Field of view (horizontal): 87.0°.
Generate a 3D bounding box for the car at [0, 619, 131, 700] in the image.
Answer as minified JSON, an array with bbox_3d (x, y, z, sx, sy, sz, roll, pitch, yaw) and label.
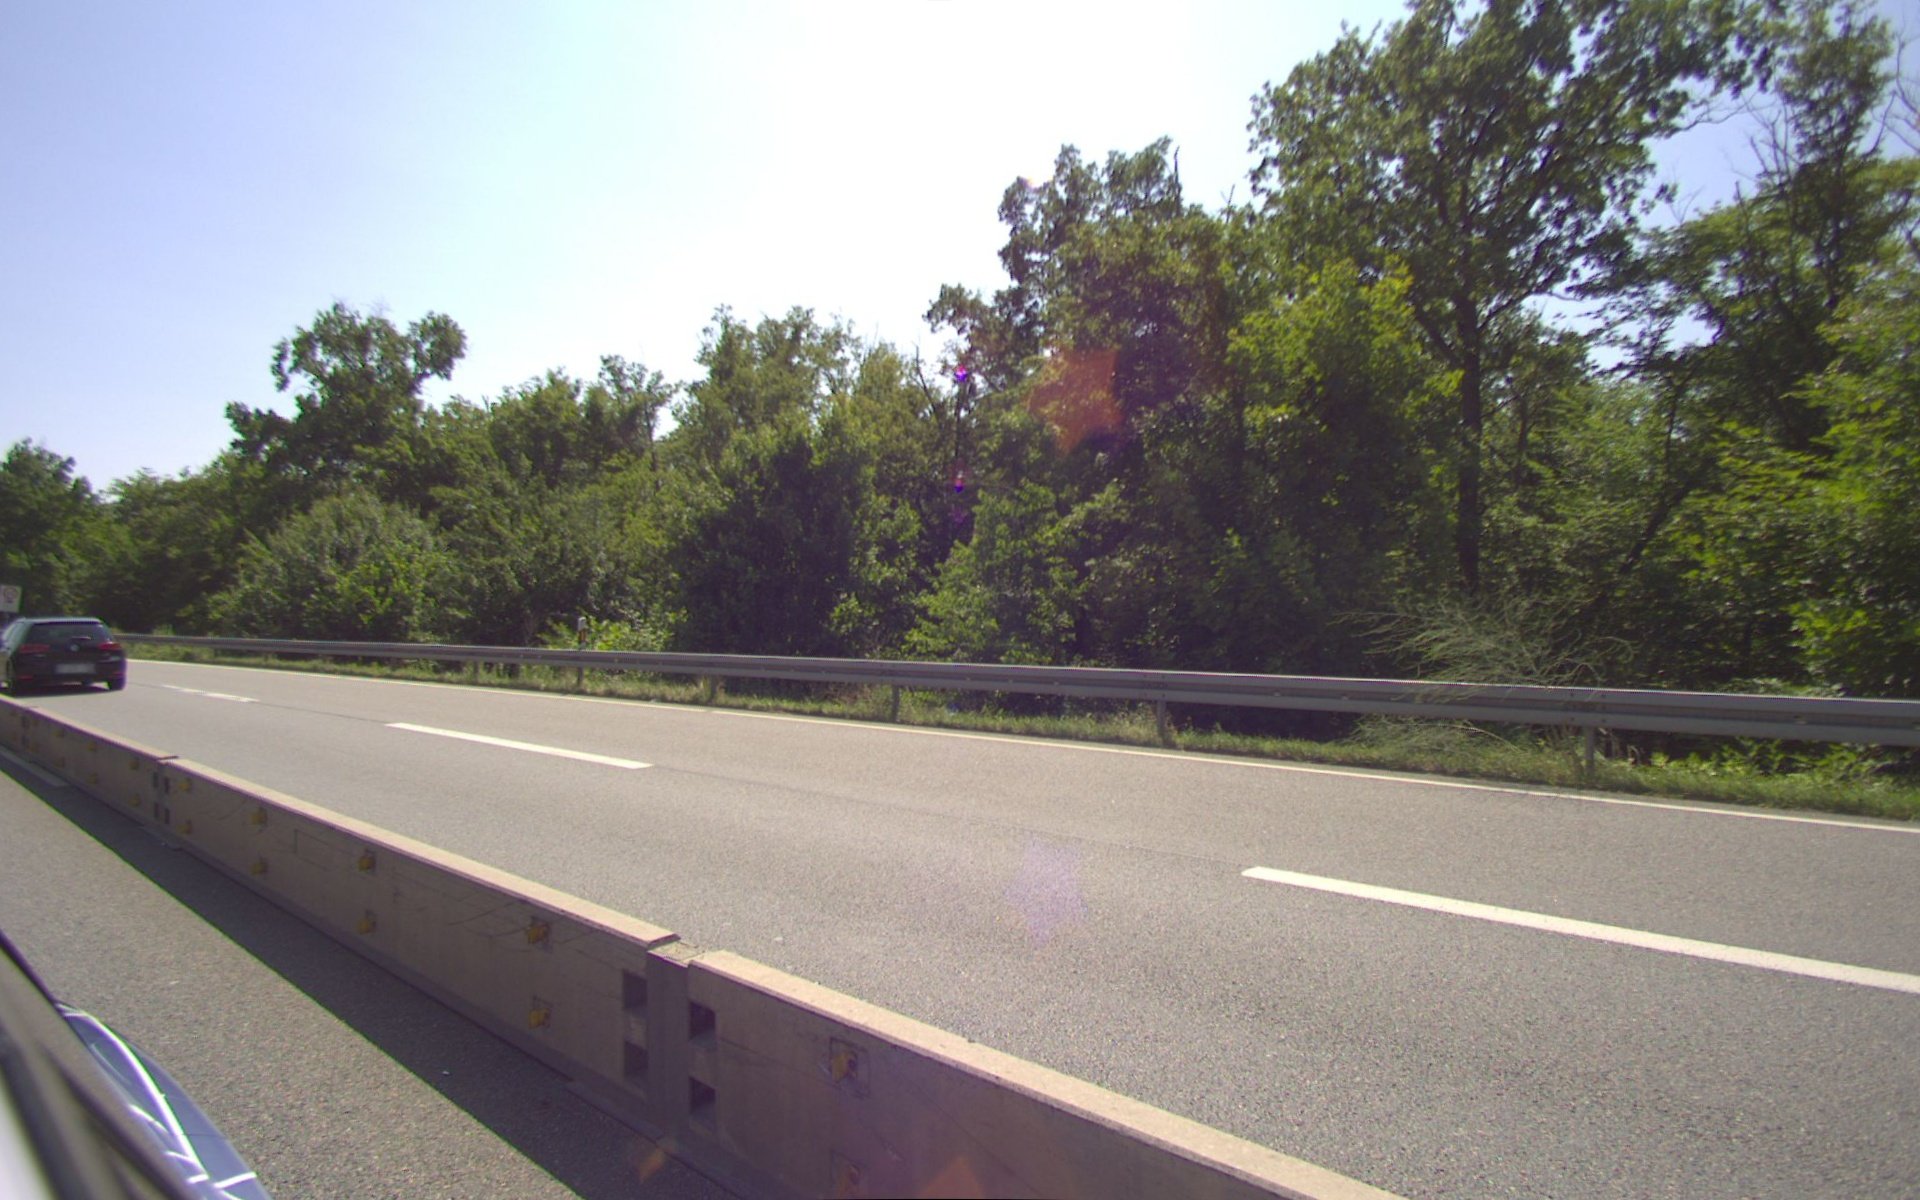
[{"bbox_3d":[-18.203,1.115,20.208,4.105,1.435,1.797,-1,-1,40],"label":"car"}]
